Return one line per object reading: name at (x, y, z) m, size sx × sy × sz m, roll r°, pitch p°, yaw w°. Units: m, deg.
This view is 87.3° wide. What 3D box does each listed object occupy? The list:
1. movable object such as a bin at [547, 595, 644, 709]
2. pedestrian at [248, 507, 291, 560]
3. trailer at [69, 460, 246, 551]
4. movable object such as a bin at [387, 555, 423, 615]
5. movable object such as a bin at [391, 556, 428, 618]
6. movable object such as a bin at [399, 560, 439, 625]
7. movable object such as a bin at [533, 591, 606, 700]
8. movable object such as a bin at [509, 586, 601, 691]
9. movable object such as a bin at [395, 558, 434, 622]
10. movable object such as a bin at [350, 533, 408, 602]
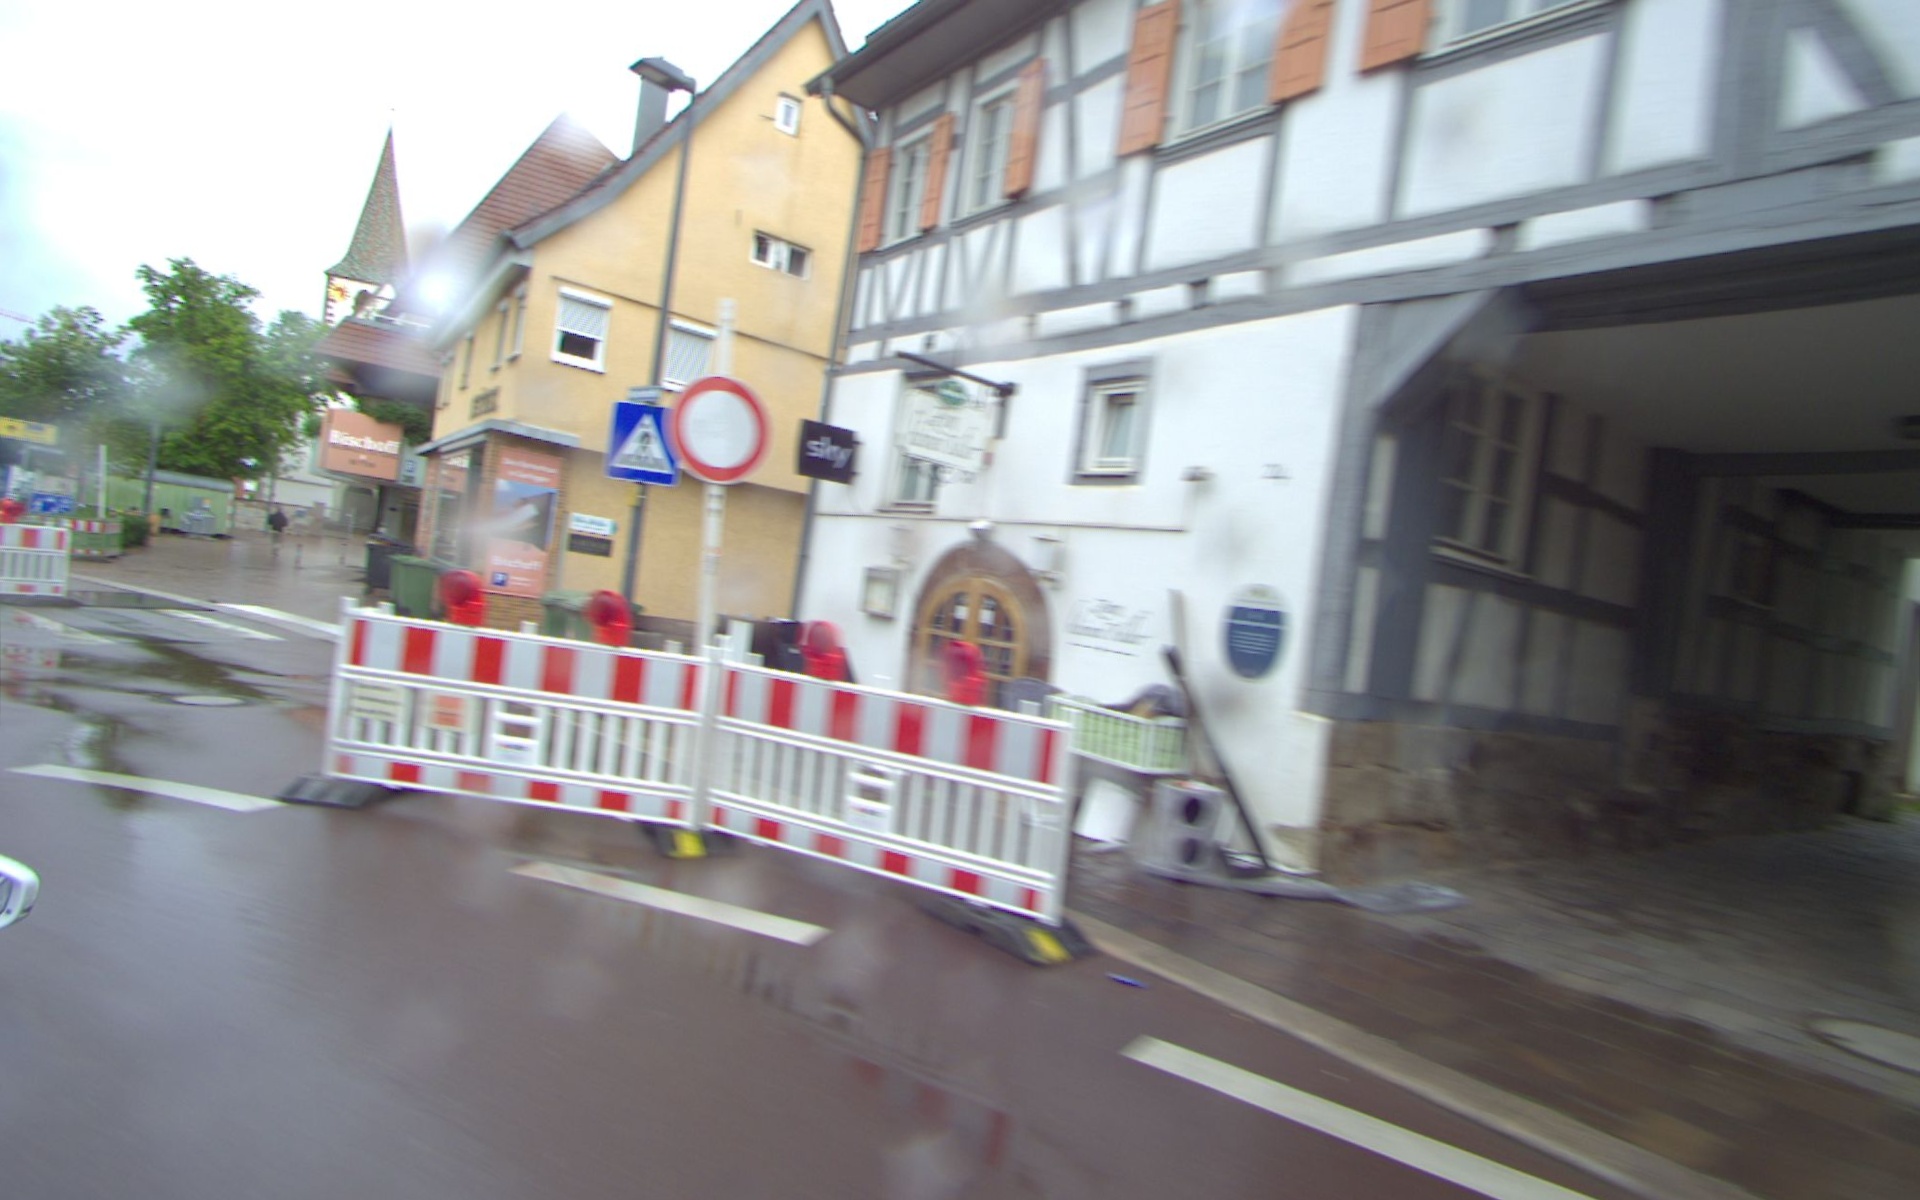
movable object such as a bin at (-3.674, 0.526, 10.148) m, size 0.533 × 1.079 × 0.677 m, roll 4°, pitch -1°, yaw 43°
pedestrian at (-25.289, -2.419, 36.830) m, size 0.840 × 1.779 × 0.988 m, roll 6°, pitch -1°, yaw 43°
trailer at (-35.746, -4.152, 44.980) m, size 1.974 × 2.982 × 5.771 m, roll 6°, pitch -2°, yaw 44°
movable object such as a bin at (-11.098, -0.303, 20.112) m, size 0.512 × 1.144 × 0.574 m, roll 3°, pitch 4°, yaw -37°
movable object such as a bin at (-10.727, -0.254, 19.606) m, size 0.512 × 1.149 × 0.574 m, roll 3°, pitch 5°, yaw -37°
movable object such as a bin at (-10.020, -0.142, 18.634) m, size 0.514 × 1.147 × 0.574 m, roll 3°, pitch 4°, yaw -37°
movable object such as a bin at (-4.142, 0.476, 10.661) m, size 0.610 × 1.079 × 0.537 m, roll 5°, pitch 0°, yaw -24°
movable object such as a bin at (-4.508, 0.428, 11.204) m, size 0.578 × 1.079 × 0.677 m, roll 7°, pitch 1°, yaw 42°
movable object such as a bin at (-10.372, -0.196, 19.121) m, size 0.512 × 1.144 × 0.574 m, roll 3°, pitch 4°, yaw -37°
movable object such as a bin at (-13.916, -0.786, 24.081) m, size 1.057 × 1.533 × 1.231 m, roll 4°, pitch 2°, yaw -33°
